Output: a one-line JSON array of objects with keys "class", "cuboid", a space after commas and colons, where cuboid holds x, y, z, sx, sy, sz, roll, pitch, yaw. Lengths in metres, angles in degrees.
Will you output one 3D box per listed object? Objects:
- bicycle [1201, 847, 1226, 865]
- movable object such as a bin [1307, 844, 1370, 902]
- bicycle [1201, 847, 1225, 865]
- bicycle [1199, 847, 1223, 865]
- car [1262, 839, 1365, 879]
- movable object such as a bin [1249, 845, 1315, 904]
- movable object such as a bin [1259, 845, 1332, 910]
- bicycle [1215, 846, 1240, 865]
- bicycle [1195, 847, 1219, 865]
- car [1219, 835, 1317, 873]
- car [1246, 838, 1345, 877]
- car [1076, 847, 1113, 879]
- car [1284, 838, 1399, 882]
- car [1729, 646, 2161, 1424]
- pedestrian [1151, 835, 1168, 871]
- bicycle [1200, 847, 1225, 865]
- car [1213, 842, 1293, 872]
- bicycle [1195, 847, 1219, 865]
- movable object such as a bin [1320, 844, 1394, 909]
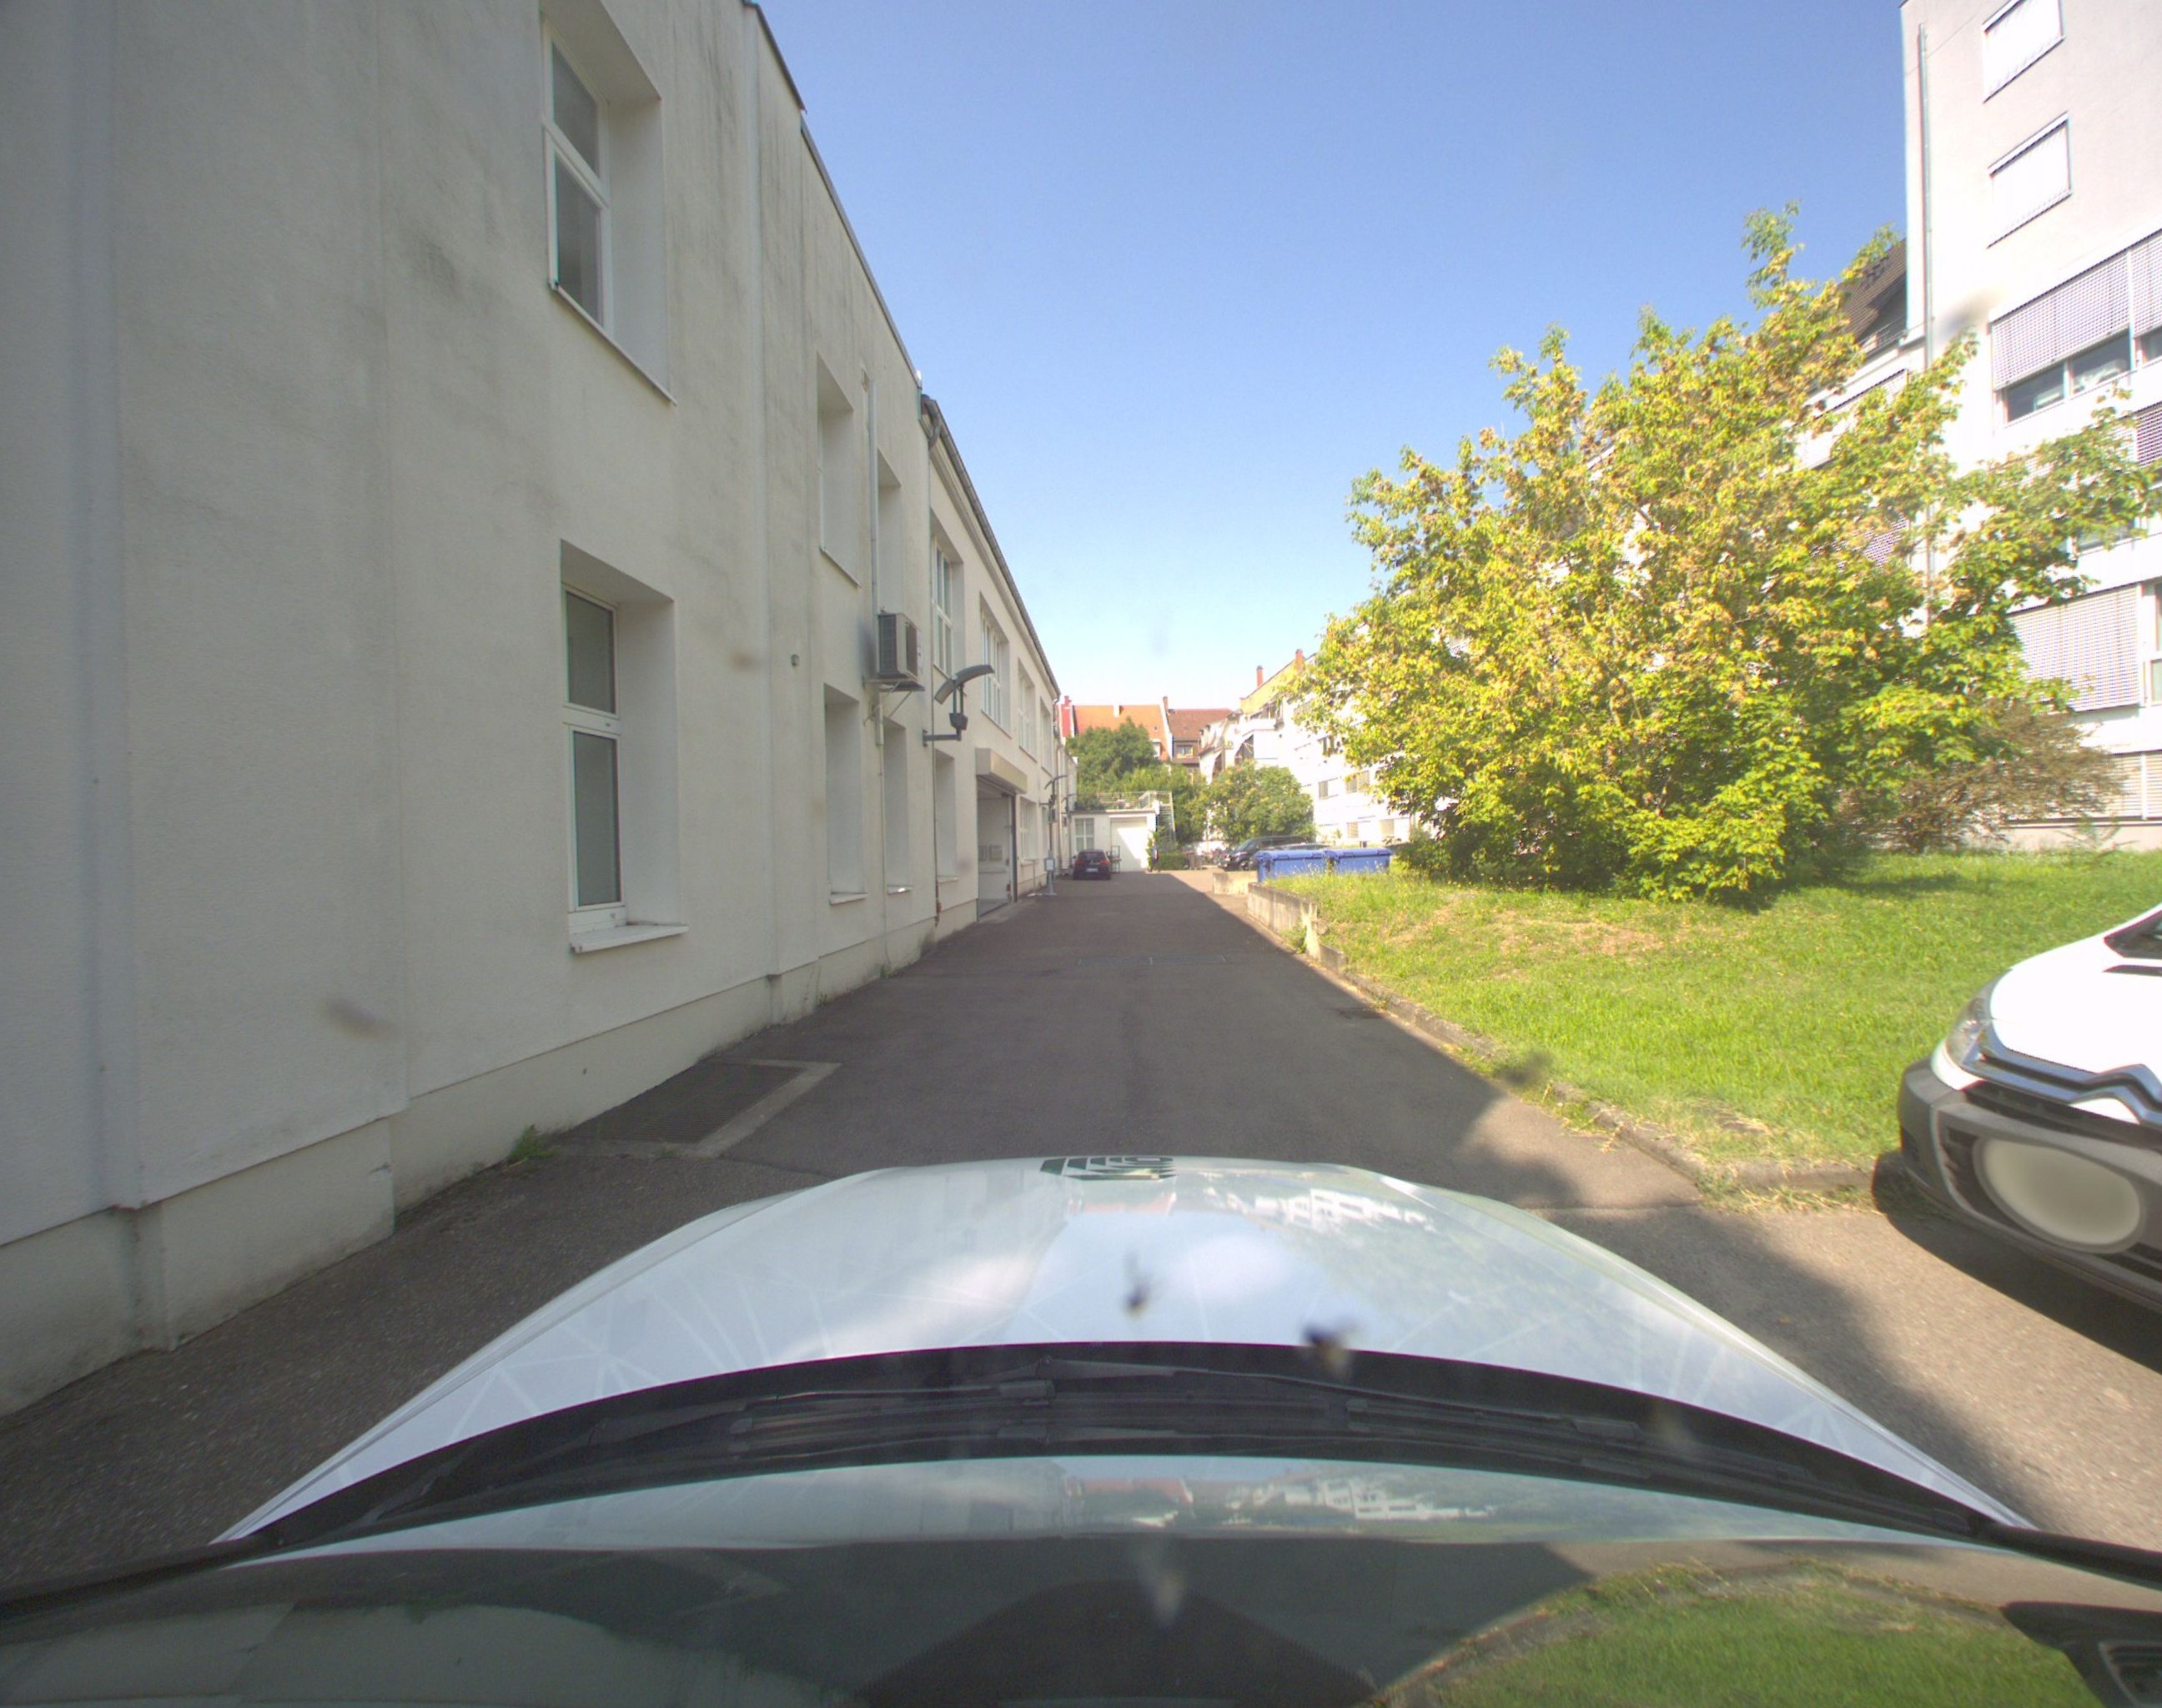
[{"class": "bicycle", "cuboid": [9.087, 0.130, 55.856, 1.615, 1.214, 0.327, -2, 0, 4]}, {"class": "movable object such as a bin", "cuboid": [6.107, 0.443, 19.400, 1.228, 1.340, 1.119, -1, 0, 6]}, {"class": "bicycle", "cuboid": [9.002, 0.131, 55.537, 1.615, 1.214, 0.327, -2, 0, 4]}, {"class": "bicycle", "cuboid": [9.082, 0.131, 56.967, 1.611, 1.214, 0.328, -2, 0, 16]}, {"class": "car", "cuboid": [9.886, 0.221, 34.854, 3.852, 1.589, 1.878, -1, 0, -2]}, {"class": "movable object such as a bin", "cuboid": [4.791, 0.482, 19.504, 1.295, 1.340, 1.195, -1, 0, 2]}, {"class": "movable object such as a bin", "cuboid": [4.650, 0.500, 17.754, 1.305, 1.340, 1.100, -1, 0, 0]}, {"class": "bicycle", "cuboid": [10.131, 0.113, 56.452, 1.610, 1.214, 0.328, -2, 0, 18]}, {"class": "bicycle", "cuboid": [9.087, 0.135, 58.884, 1.619, 1.214, 0.424, -2, 0, -2]}, {"class": "car", "cuboid": [9.589, -0.009, 41.906, 4.495, 1.794, 1.879, -2, -1, -6]}, {"class": "car", "cuboid": [9.860, 0.147, 37.681, 4.103, 1.691, 1.771, -1, 0, 0]}, {"class": "car", "cuboid": [0.687, 0.423, 39.181, 1.682, 1.459, 3.924, -1, 0, 2]}, {"class": "car", "cuboid": [10.076, 0.224, 31.635, 3.795, 1.589, 1.893, -1, 0, -7]}, {"class": "car", "cuboid": [5.168, 0.432, 2.295, 4.934, 1.921, 2.047, 0, -1, 5]}, {"class": "pedestrian", "cuboid": [4.409, -0.065, 45.984, 0.910, 2.013, 0.935, -1, 0, 3]}, {"class": "bicycle", "cuboid": [9.075, 0.130, 56.151, 1.615, 1.214, 0.327, -2, 0, 4]}, {"class": "car", "cuboid": [9.432, 0.158, 44.804, 3.927, 1.482, 1.771, -2, -1, -6]}, {"class": "bicycle", "cuboid": [8.935, 0.136, 57.652, 1.616, 1.214, 0.424, -2, 0, 2]}, {"class": "movable object such as a bin", "cuboid": [5.974, 0.478, 17.685, 1.223, 1.340, 1.076, -1, 0, -2]}]
